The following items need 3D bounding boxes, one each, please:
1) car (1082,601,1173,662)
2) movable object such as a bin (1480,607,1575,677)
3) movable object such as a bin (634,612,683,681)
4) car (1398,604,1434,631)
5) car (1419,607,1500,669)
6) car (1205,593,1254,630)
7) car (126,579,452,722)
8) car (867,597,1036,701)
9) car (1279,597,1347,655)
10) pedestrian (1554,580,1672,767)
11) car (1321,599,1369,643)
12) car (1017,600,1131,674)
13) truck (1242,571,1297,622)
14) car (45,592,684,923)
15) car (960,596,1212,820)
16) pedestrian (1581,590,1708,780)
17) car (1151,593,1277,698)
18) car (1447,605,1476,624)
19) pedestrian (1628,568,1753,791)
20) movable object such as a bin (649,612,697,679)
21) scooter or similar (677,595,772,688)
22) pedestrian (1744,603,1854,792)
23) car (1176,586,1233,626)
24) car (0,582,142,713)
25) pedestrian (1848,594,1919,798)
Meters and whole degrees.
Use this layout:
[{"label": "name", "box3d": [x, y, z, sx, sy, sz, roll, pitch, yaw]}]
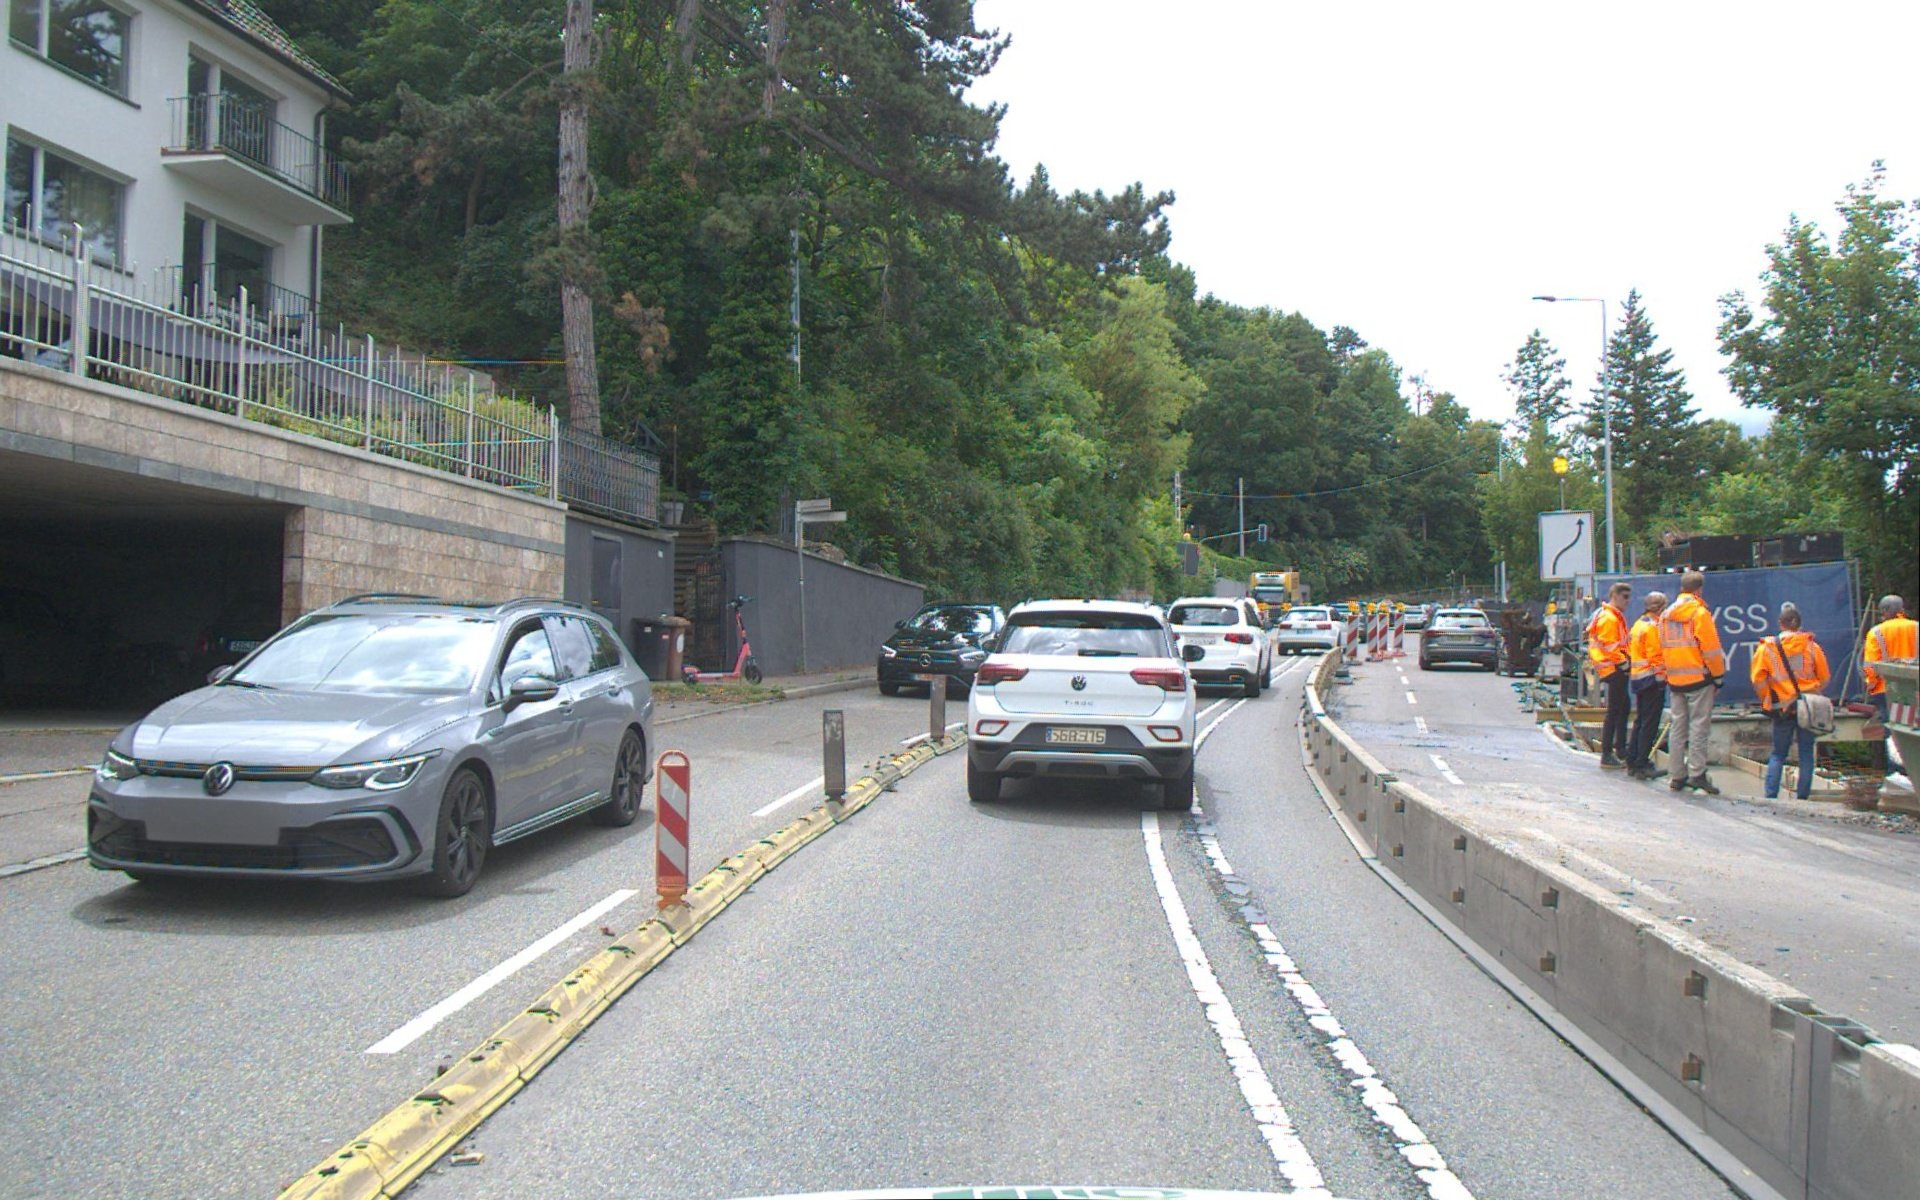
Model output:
[{"label": "car", "box3d": [4.556, 0.827, 44.580, 1.730, 1.477, 4.311, 2, 0, 15]}, {"label": "movable object such as a bin", "box3d": [12.239, 0.888, 35.739, 1.366, 1.450, 1.906, 1, 0, -1]}, {"label": "movable object such as a bin", "box3d": [-4.441, 0.678, 24.343, 0.537, 0.994, 0.510, 0, -1, 15]}, {"label": "car", "box3d": [24.674, 0.938, 89.576, 1.756, 1.392, 4.003, 0, 0, 14]}, {"label": "car", "box3d": [11.925, 0.879, 39.693, 1.756, 1.392, 4.003, 0, 0, 15]}, {"label": "car", "box3d": [11.857, 0.500, 72.566, 1.730, 1.477, 4.312, 2, 0, 14]}, {"label": "car", "box3d": [-7.792, 0.614, 19.619, 1.744, 1.479, 3.705, 2, -2, 12]}, {"label": "car", "box3d": [-0.036, 0.729, 26.538, 1.730, 1.460, 4.312, 2, 0, 13]}, {"label": "car", "box3d": [10.871, 0.772, 50.760, 1.771, 1.692, 4.003, 0, 0, 16]}, {"label": "pedestrian", "box3d": [6.667, 0.735, 16.925, 0.858, 1.854, 0.878, 1, 0, 1]}, {"label": "car", "box3d": [15.414, 0.825, 66.122, 1.771, 1.692, 4.003, 0, 0, 15]}, {"label": "car", "box3d": [2.616, 0.796, 37.004, 1.730, 1.477, 4.311, 2, 0, 15]}, {"label": "truck", "box3d": [20.246, -0.177, 107.929, 2.842, 3.210, 7.588, 0, -1, 16]}, {"label": "car", "box3d": [-3.072, 0.713, 9.632, 1.730, 1.460, 4.312, 1, 0, 7]}, {"label": "car", "box3d": [1.146, 0.773, 13.822, 1.771, 1.558, 4.003, 1, 0, 7]}, {"label": "pedestrian", "box3d": [6.568, 0.794, 15.912, 0.858, 1.761, 0.878, 1, 0, 1]}, {"label": "car", "box3d": [4.491, 0.734, 28.864, 1.771, 1.692, 4.003, 0, 0, 15]}, {"label": "car", "box3d": [38.731, 1.128, 127.720, 1.758, 1.392, 3.998, 0, 0, 23]}, {"label": "pedestrian", "box3d": [6.564, 0.695, 14.892, 0.678, 1.940, 0.823, 1, 0, -11]}, {"label": "movable object such as a bin", "box3d": [-4.318, 0.684, 24.889, 0.537, 0.994, 0.510, 0, -1, 15]}, {"label": "scooter or similar", "box3d": [-3.342, 0.588, 23.492, 1.285, 1.277, 0.465, 1, 0, -13]}, {"label": "pedestrian", "box3d": [7.496, 0.851, 14.810, 0.766, 1.636, 0.667, 0, 0, 17]}, {"label": "car", "box3d": [9.790, 0.237, 65.954, 1.730, 1.477, 4.311, 2, 0, 15]}, {"label": "car", "box3d": [-11.462, 0.538, 19.398, 1.733, 1.444, 3.546, 2, -2, 3]}, {"label": "pedestrian", "box3d": [8.188, 0.811, 14.283, 0.766, 1.717, 0.785, 0, 0, 17]}]
